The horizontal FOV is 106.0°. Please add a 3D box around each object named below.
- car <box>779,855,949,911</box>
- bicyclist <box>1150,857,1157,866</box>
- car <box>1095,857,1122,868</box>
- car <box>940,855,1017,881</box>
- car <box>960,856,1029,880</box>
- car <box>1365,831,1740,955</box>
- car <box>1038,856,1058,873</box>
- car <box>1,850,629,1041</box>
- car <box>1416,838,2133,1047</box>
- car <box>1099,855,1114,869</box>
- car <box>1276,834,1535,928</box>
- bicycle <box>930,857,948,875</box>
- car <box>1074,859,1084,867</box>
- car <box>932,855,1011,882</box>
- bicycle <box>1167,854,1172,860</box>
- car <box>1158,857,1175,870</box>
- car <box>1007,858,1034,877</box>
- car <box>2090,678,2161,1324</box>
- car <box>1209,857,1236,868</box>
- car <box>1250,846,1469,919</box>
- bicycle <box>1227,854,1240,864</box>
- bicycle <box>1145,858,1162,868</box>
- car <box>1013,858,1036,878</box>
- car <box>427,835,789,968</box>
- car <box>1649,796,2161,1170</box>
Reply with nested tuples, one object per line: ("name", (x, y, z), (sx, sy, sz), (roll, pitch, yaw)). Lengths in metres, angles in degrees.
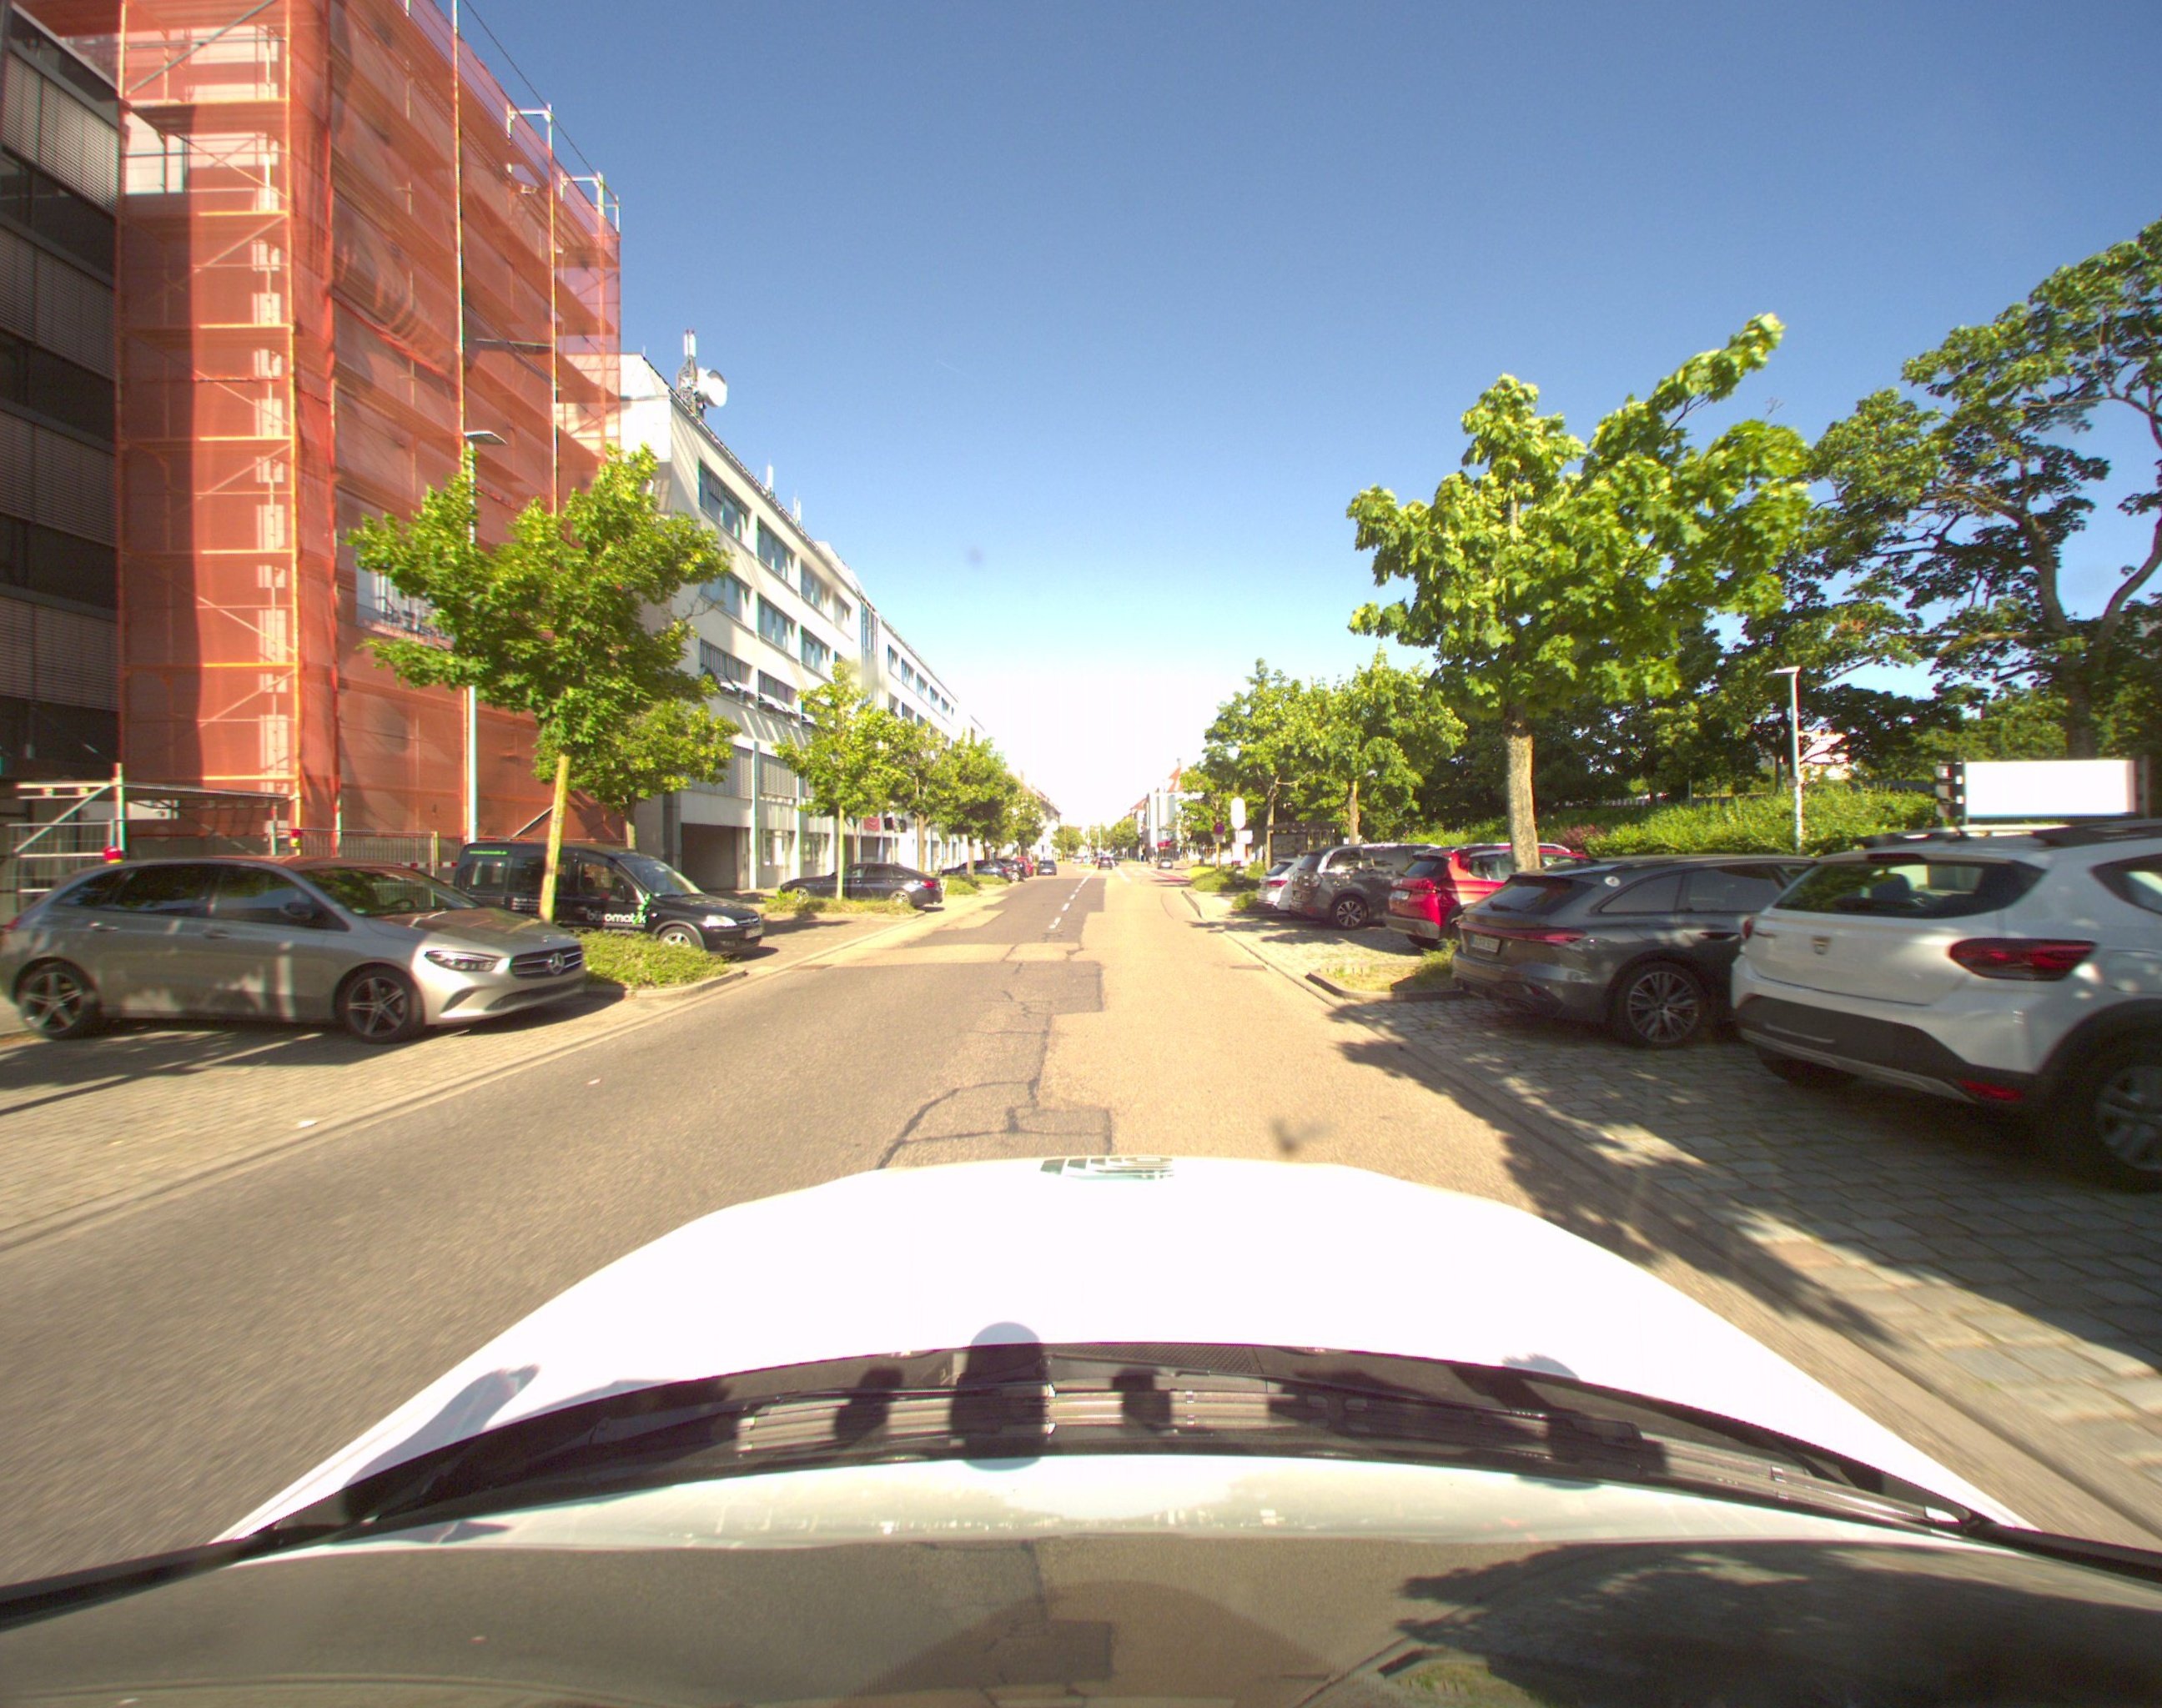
("car", (-6.194, 0.813, 23.667), (4.374, 1.432, 1.976), (2, 0, -3))
("bicyclist", (10.253, 1.045, 114.968), (0.695, 1.348, 0.798), (-1, 0, 36))
("car", (4.079, 1.247, 120.039), (3.939, 1.600, 1.675), (-2, 0, -1))
("car", (-6.250, 0.839, 50.017), (4.367, 1.432, 1.695), (2, 0, 3))
("car", (-5.699, 0.902, 54.177), (4.373, 1.432, 1.692), (2, 0, -2))
("car", (6.700, 0.532, 11.952), (4.386, 1.536, 1.877), (-2, 0, 1))
("car", (-3.033, 0.961, 75.531), (1.683, 1.468, 4.544), (-1, 0, -2))
("car", (-7.037, 0.785, 7.827), (4.370, 1.514, 1.694), (2, 0, 0))
("car", (5.510, 0.653, 7.023), (4.386, 1.409, 2.075), (-2, 0, 1))
("car", (3.160, 0.990, 101.632), (1.748, 1.628, 4.478), (2, 0, 0))
("car", (6.380, 0.509, 16.437), (4.386, 1.641, 2.075), (-2, 0, 1))
("bicycle", (-10.888, 0.906, 62.406), (0.705, 1.347, 2.236), (-2, 0, 7))
("car", (-0.401, 1.892, 170.706), (1.747, 1.556, 3.733), (2, 0, 3))
("car", (-6.332, 0.854, 47.330), (4.375, 1.432, 1.692), (2, 0, -3))
("bicycle", (16.640, 0.553, 153.293), (0.471, 1.027, 1.510), (-1, 0, -11))
("car", (11.060, 1.198, 105.390), (1.683, 1.577, 3.869), (2, 0, -1))
("car", (-4.822, 1.051, 65.359), (1.682, 1.432, 3.873), (2, 0, 2))
("car", (5.315, 0.370, 1.449), (4.386, 1.892, 2.075), (-2, 0, 1))
("car", (21.255, 1.250, 122.701), (3.839, 1.577, 1.696), (2, 0, 6))
("car", (6.267, 0.635, 18.724), (4.386, 1.463, 1.896), (-2, 0, 1))
("bicycle", (21.729, 0.734, 116.198), (0.782, 1.348, 2.277), (-1, 0, 39))
("bicycle", (10.262, 1.305, 114.953), (2.233, 1.348, 0.798), (-1, 0, 36))
("car", (-4.785, 1.193, 69.868), (1.683, 1.607, 4.309), (2, 0, -1))
("car", (-6.989, 0.665, 12.362), (4.368, 1.745, 1.848), (2, 0, 2))
("car", (6.041, 0.493, 4.456), (4.386, 1.557, 2.075), (-2, 0, 1))
